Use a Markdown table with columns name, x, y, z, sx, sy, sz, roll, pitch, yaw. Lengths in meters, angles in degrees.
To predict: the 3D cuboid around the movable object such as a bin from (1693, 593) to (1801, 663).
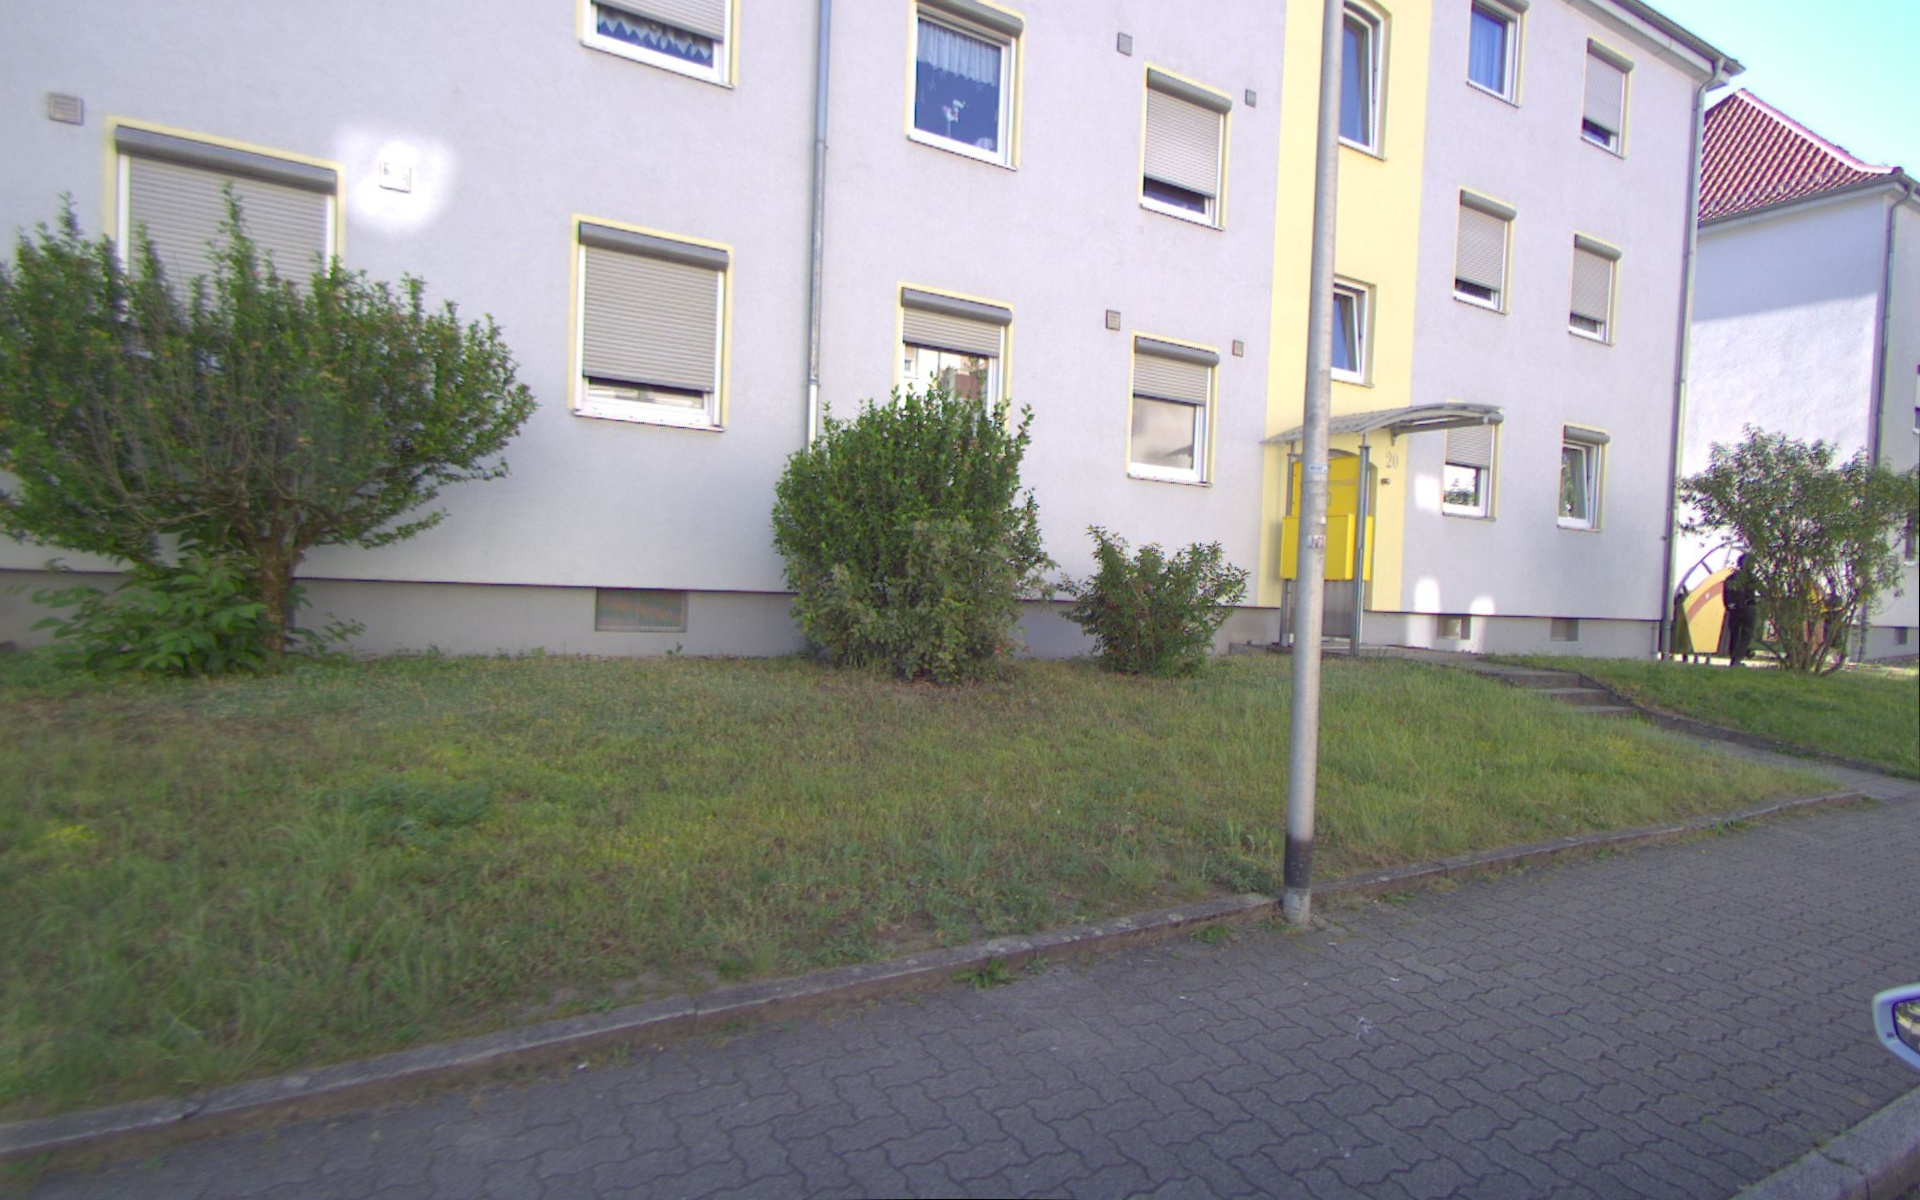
| name | x | y | z | sx | sy | sz | roll | pitch | yaw |
| --- | --- | --- | --- | --- | --- | --- | --- | --- | --- |
| movable object such as a bin | 16.692 | 0.576 | 21.323 | 1.214 | 1.354 | 1.380 | 1 | 3 | -30 |

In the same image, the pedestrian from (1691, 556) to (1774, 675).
| name | x | y | z | sx | sy | sz | roll | pitch | yaw |
| --- | --- | --- | --- | --- | --- | --- | --- | --- | --- |
| pedestrian | 12.462 | 0.242 | 16.208 | 0.709 | 1.848 | 0.802 | 1 | 1 | -29 |

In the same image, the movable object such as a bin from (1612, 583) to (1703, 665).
| name | x | y | z | sx | sy | sz | roll | pitch | yaw |
| --- | --- | --- | --- | --- | --- | --- | --- | --- | --- |
| movable object such as a bin | 12.808 | 0.422 | 18.456 | 0.803 | 1.425 | 1.079 | 1 | 2 | -29 |

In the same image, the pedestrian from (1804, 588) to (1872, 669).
| name | x | y | z | sx | sy | sz | roll | pitch | yaw |
| --- | --- | --- | --- | --- | --- | --- | --- | --- | --- |
| pedestrian | 14.912 | 0.481 | 17.061 | 0.569 | 1.335 | 0.683 | 1 | 1 | -29 |
